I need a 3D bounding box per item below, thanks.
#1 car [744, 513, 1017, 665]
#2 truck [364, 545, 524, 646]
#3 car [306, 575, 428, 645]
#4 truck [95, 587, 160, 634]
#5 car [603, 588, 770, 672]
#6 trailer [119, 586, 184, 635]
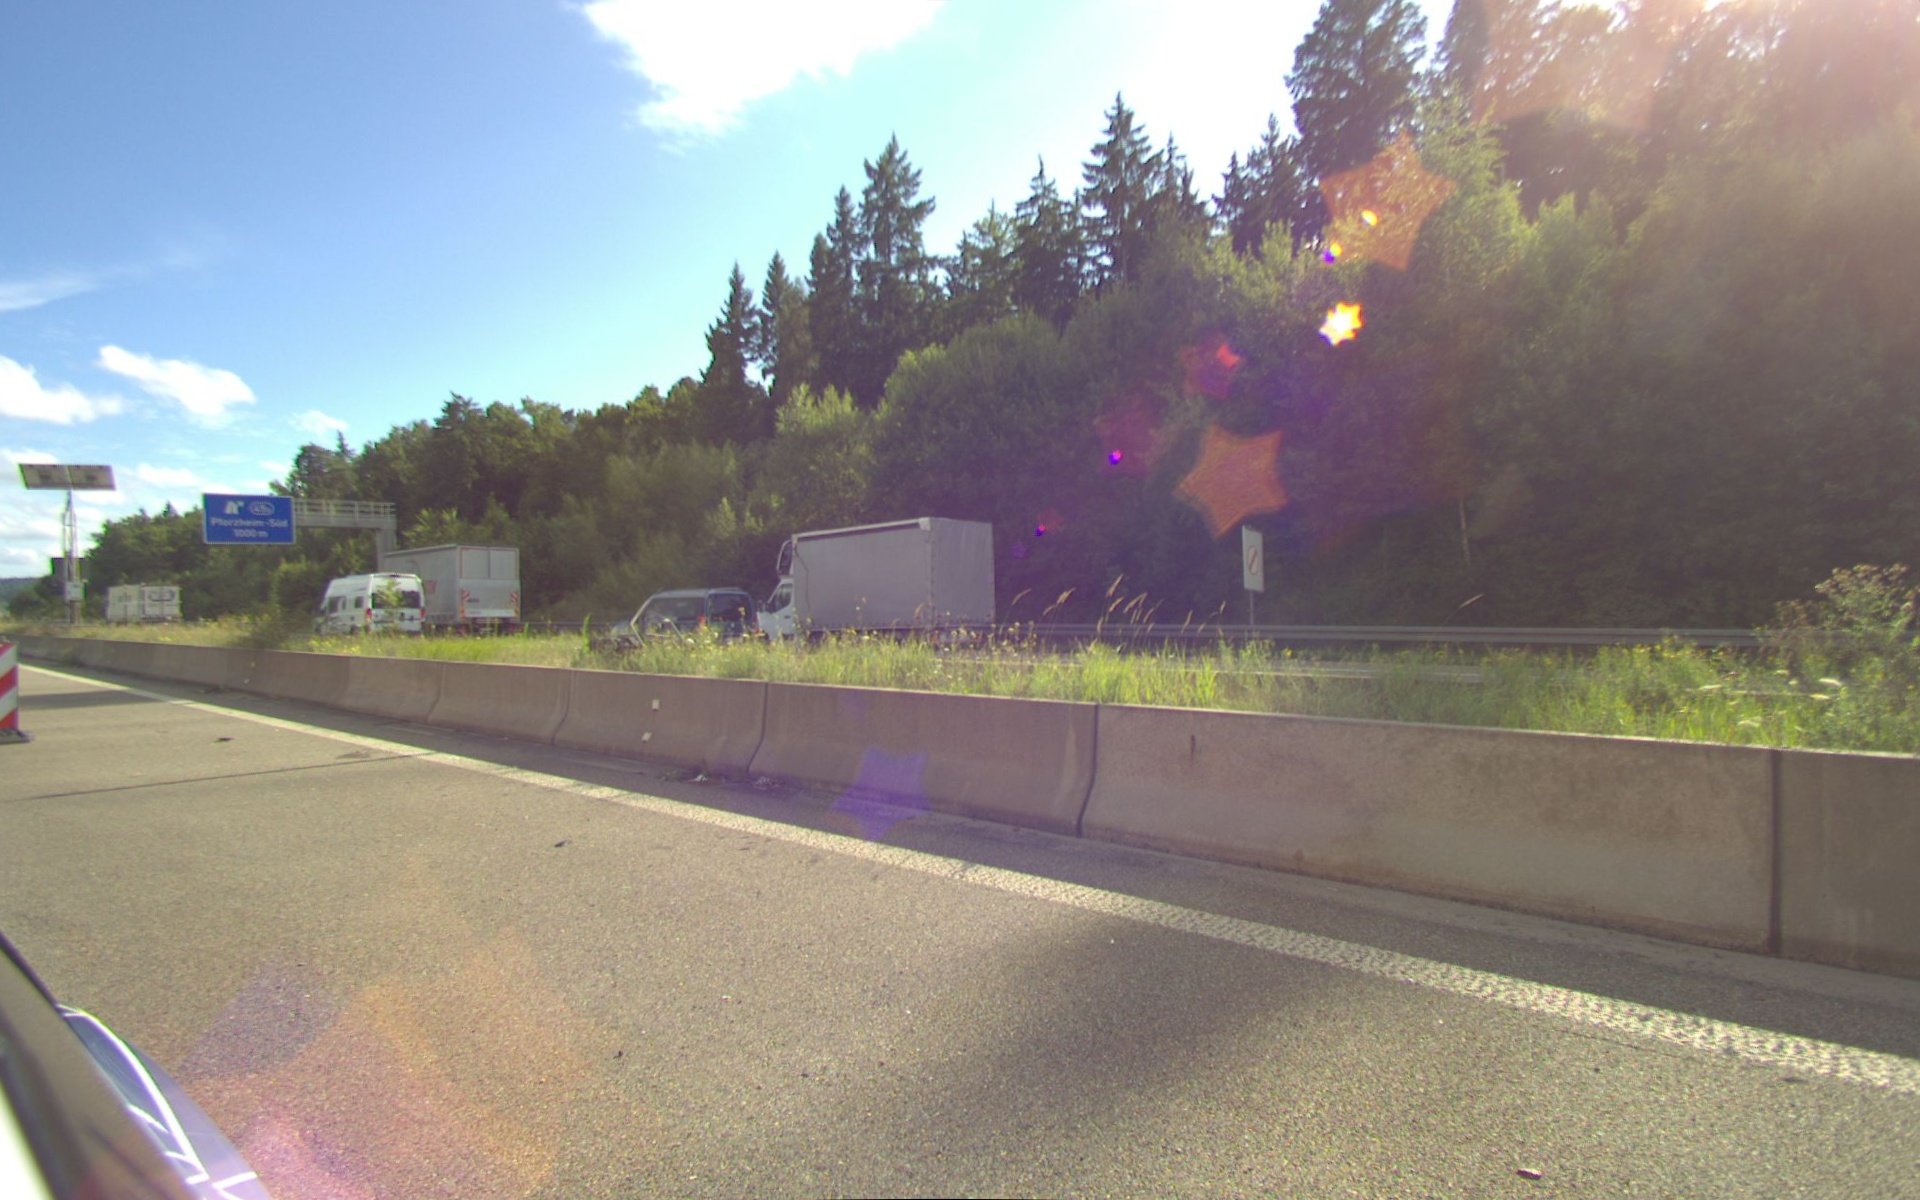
[{"bbox_3d":[-2.257,-0.221,26.006,7.448,3.395,2.461,-1,0,41],"label":"car"},{"bbox_3d":[-22.948,-0.079,44.644,10.180,4.022,2.771,-1,-1,41],"label":"truck"},{"bbox_3d":[-22.658,0.405,38.534,6.329,2.470,2.137,-1,-1,42],"label":"car"},{"bbox_3d":[-75.176,0.921,91.254,10.856,4.015,2.753,-1,0,41],"label":"truck"},{"bbox_3d":[-6.588,0.673,24.178,4.117,1.826,1.924,-1,0,41],"label":"car"},{"bbox_3d":[-67.869,0.873,84.884,8.484,3.953,2.762,-1,0,41],"label":"trailer"}]
